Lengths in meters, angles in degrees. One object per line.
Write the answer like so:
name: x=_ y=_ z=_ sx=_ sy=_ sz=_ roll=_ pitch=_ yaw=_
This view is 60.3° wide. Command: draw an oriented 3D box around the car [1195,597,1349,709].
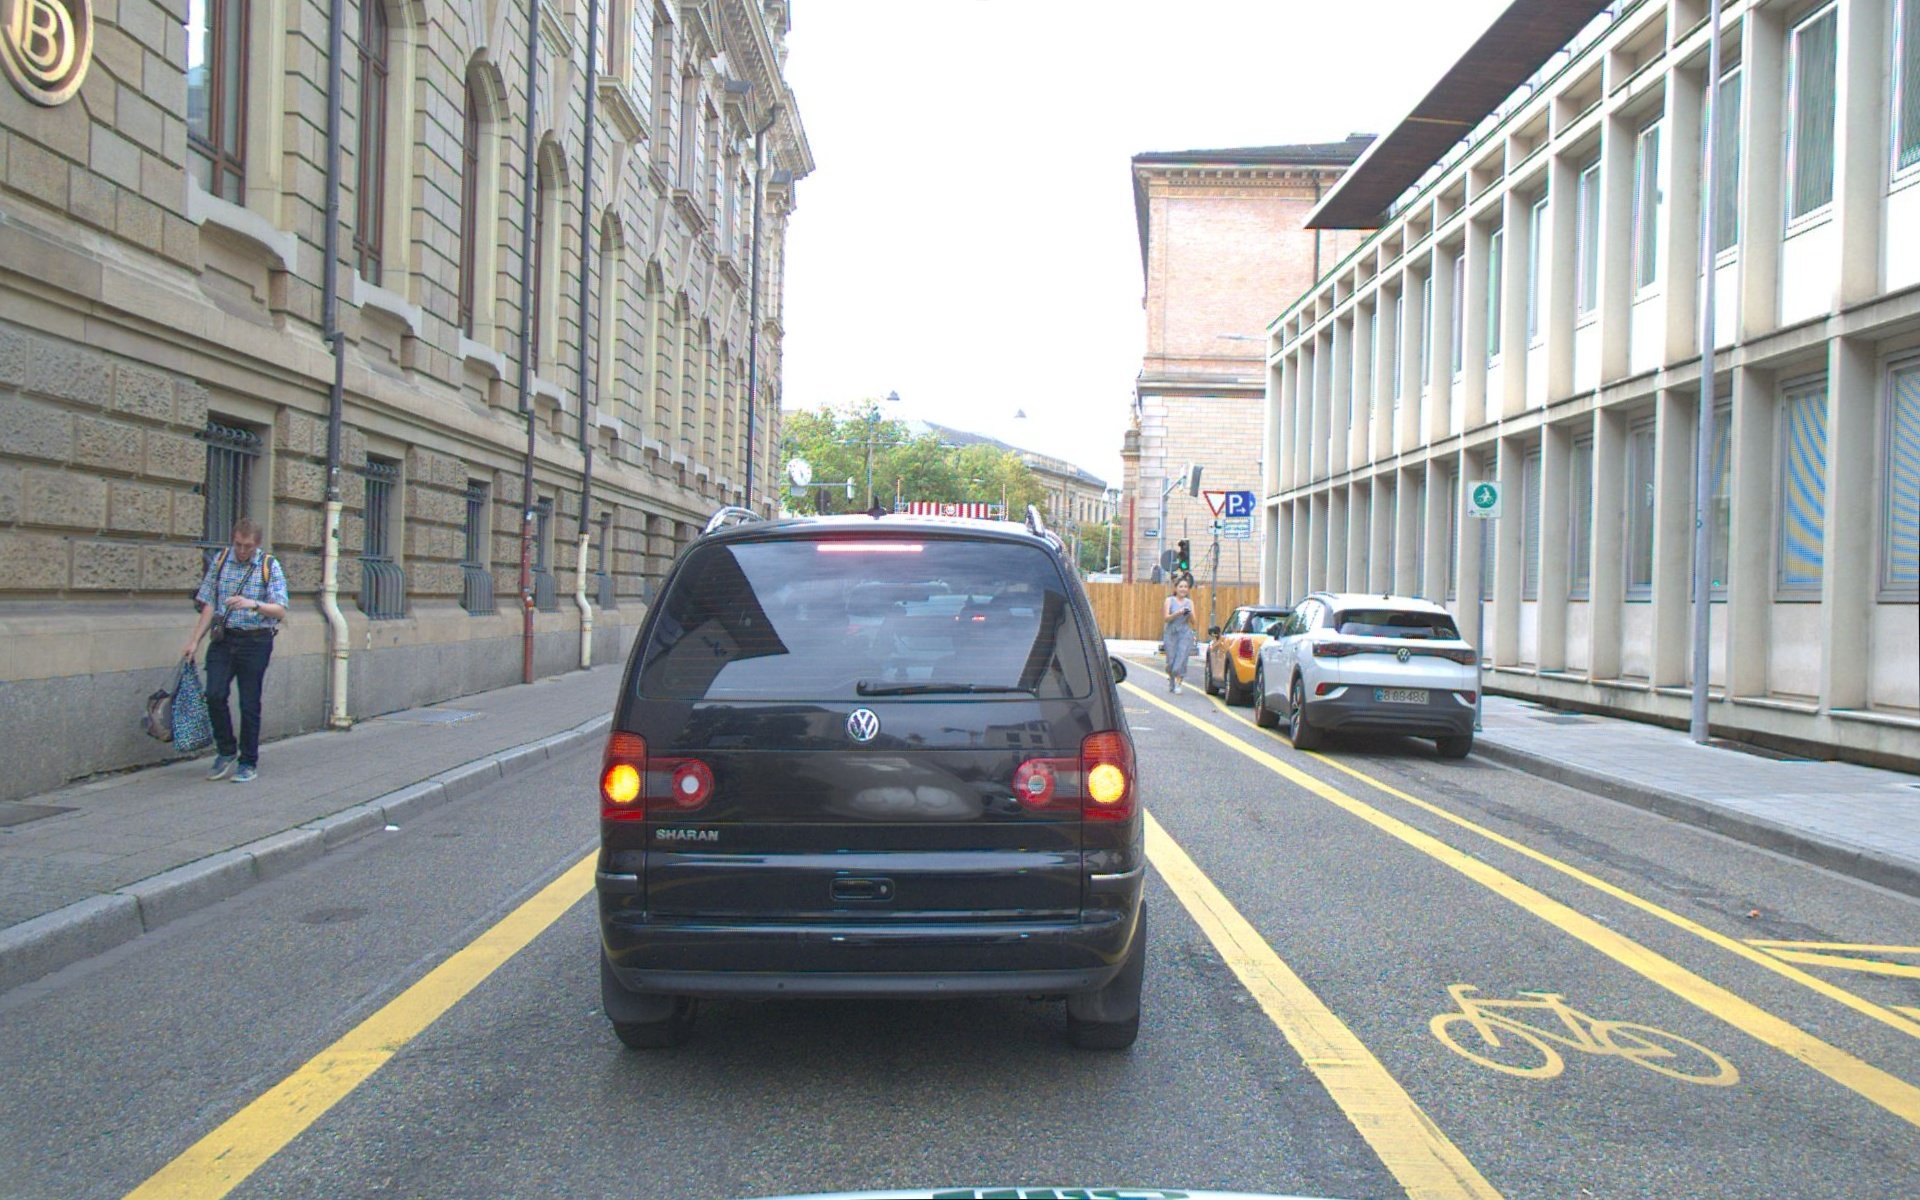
car: x=4.667 y=0.751 z=25.199 sx=1.645 sy=1.459 sz=3.887 roll=4 pitch=0 yaw=2

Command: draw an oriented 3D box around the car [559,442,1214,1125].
car: x=-0.132 y=0.505 z=6.588 sx=1.752 sy=1.821 sz=4.104 roll=1 pitch=0 yaw=2

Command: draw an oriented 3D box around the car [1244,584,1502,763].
car: x=4.460 y=0.735 z=18.573 sx=1.822 sy=1.633 sz=4.513 roll=4 pitch=0 yaw=2

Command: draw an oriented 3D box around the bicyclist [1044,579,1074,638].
bicyclist: x=2.672 y=0.228 z=44.508 sx=0.720 sy=1.582 sz=0.895 roll=1 pitch=0 yaw=-1

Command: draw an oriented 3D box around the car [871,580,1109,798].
car: x=0.281 y=0.634 z=13.716 sx=1.643 sy=1.495 sz=4.104 roll=1 pitch=0 yaw=2

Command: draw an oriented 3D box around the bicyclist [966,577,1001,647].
bicyclist: x=0.512 y=0.257 z=36.221 sx=0.720 sy=1.504 sz=0.884 roll=1 pitch=0 yaw=-1

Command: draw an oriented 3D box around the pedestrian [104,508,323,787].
pedestrian: x=-4.993 y=0.310 z=11.127 sx=1.005 sy=1.750 sz=0.818 roll=3 pitch=-1 yaw=-1

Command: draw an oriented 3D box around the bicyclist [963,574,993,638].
bicyclist: x=0.463 y=0.164 z=42.934 sx=0.720 sy=1.640 sz=0.695 roll=1 pitch=-1 yaw=-1

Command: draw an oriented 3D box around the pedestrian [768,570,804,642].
pedestrian: x=-4.643 y=0.158 z=44.301 sx=0.776 sy=1.851 sz=1.048 roll=3 pitch=-1 yaw=-1

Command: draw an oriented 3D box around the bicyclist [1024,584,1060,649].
bicyclist: x=1.819 y=0.363 z=36.684 sx=0.720 sy=1.401 sz=0.828 roll=1 pitch=0 yaw=-2

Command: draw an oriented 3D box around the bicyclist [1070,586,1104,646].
bicyclist: x=3.014 y=0.382 z=39.230 sx=0.720 sy=1.399 sz=0.831 roll=1 pitch=0 yaw=-1

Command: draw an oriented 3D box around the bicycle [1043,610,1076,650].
bicycle: x=2.659 y=0.787 z=44.425 sx=0.720 sy=1.026 sz=2.068 roll=1 pitch=0 yaw=-1

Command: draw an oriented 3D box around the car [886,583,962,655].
car: x=-0.866 y=0.447 z=40.242 sx=1.737 sy=1.613 sz=3.999 roll=1 pitch=0 yaw=-1

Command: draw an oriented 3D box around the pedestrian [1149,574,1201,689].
pedestrian: x=3.402 y=0.495 z=26.195 sx=0.689 sy=1.794 sz=0.700 roll=1 pitch=-1 yaw=-1

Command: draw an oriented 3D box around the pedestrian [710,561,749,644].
pedestrian: x=-5.282 y=0.057 z=37.949 sx=0.650 sy=1.851 sz=1.048 roll=3 pitch=-1 yaw=-1

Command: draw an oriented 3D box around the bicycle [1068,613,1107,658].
bicycle: x=3.003 y=0.828 z=39.243 sx=0.720 sy=1.026 sz=2.068 roll=1 pitch=0 yaw=-1

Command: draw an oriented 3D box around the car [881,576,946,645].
car: x=-1.366 y=0.293 z=47.239 sx=1.700 sy=1.821 sz=4.100 roll=2 pitch=0 yaw=-4

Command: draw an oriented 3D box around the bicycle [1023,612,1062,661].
bicycle: x=1.808 y=0.798 z=36.671 sx=0.720 sy=1.026 sz=2.068 roll=1 pitch=0 yaw=-1
